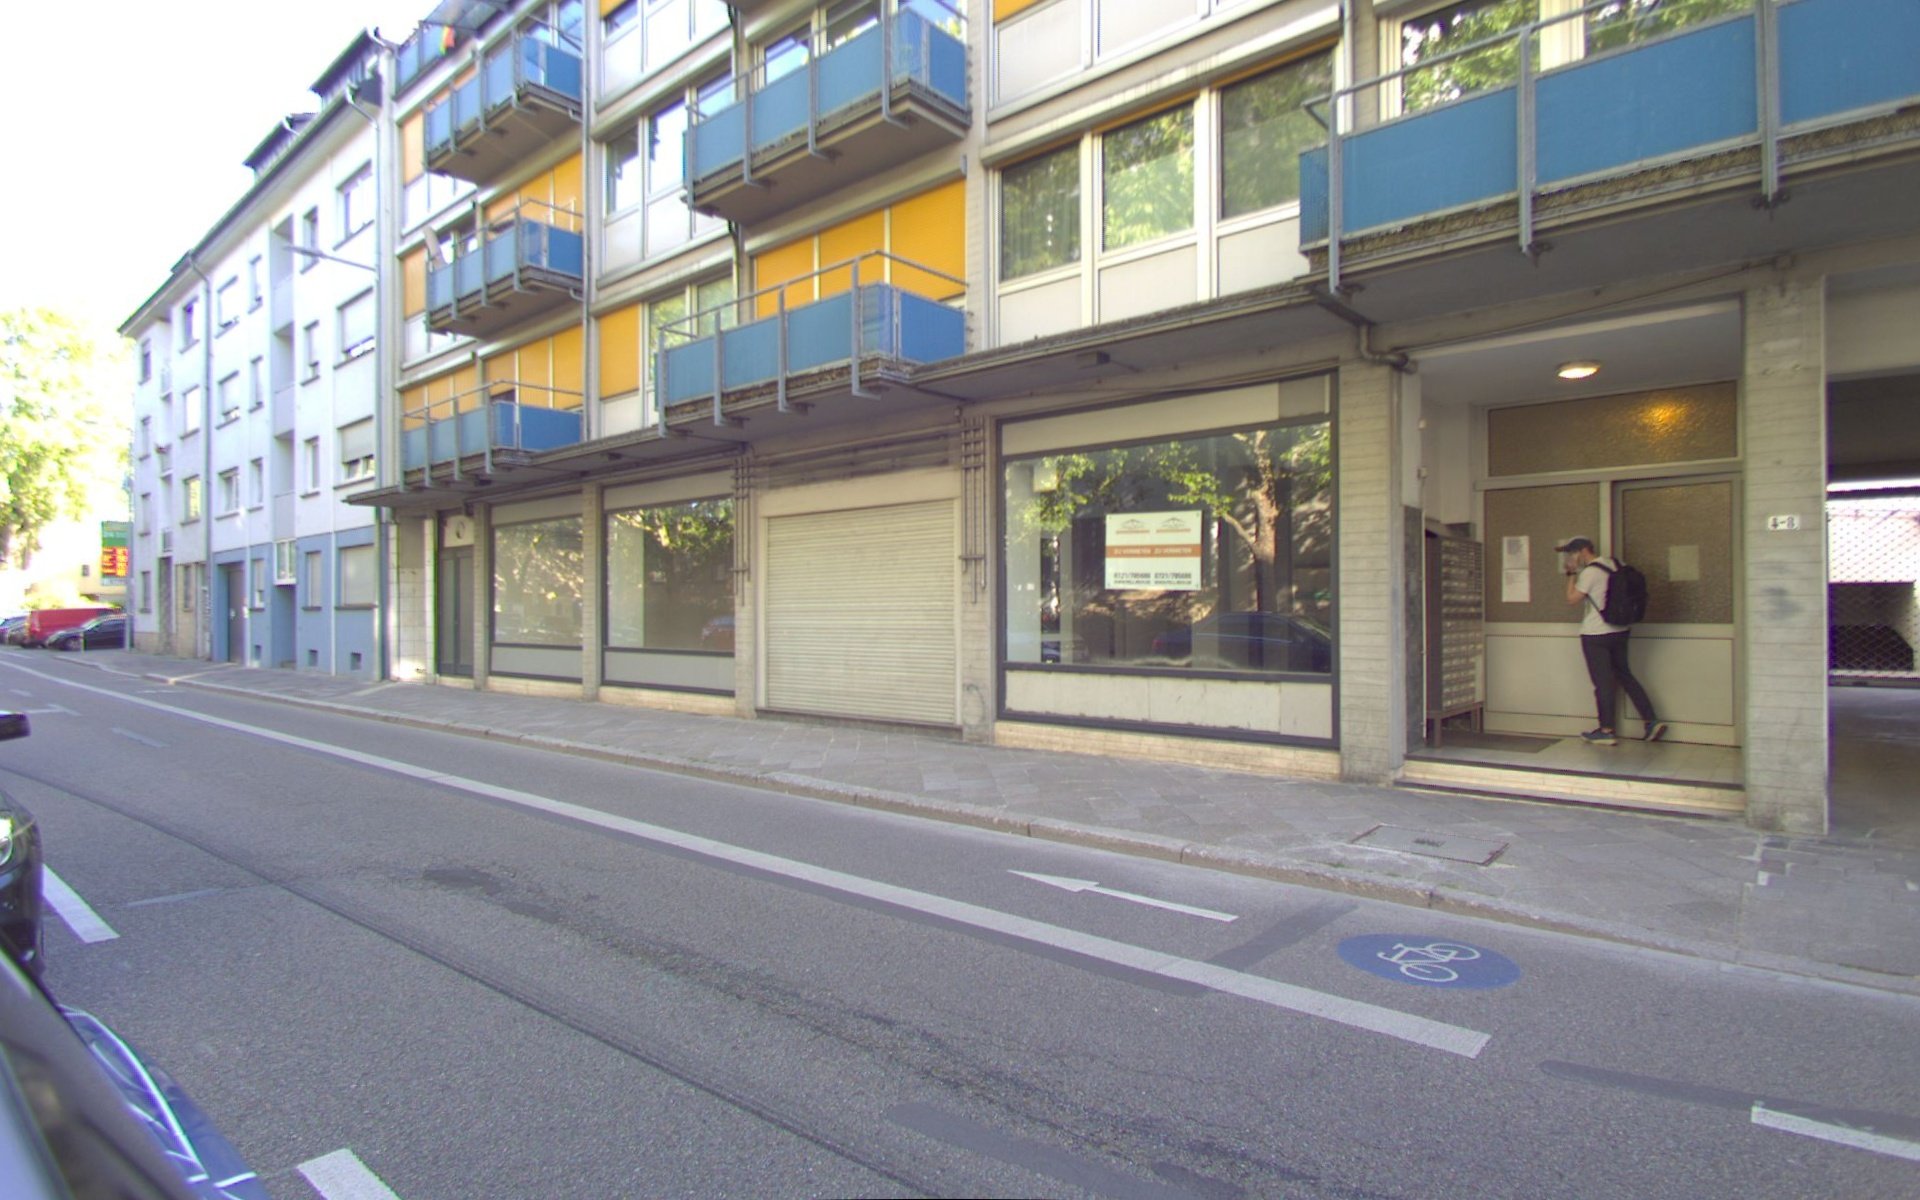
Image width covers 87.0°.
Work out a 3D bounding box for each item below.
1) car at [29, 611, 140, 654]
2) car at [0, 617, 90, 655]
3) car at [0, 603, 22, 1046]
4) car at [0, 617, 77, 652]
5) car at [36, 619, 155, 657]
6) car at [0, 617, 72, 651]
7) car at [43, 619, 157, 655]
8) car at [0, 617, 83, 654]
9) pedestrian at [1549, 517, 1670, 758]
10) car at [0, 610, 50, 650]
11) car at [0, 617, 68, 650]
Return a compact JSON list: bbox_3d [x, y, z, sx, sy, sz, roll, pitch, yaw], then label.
[{"bbox_3d":[-43.441,1.571,50.256,2.000,1.962,3.944,-1,0,42],"label":"car"},{"bbox_3d":[-51.581,2.008,56.834,2.000,1.962,3.944,-1,0,42],"label":"car"},{"bbox_3d":[-5.532,0.807,4.285,4.479,1.512,1.842,-1,-1,41],"label":"car"},{"bbox_3d":[-55.613,2.060,60.569,2.000,1.962,3.944,-1,0,42],"label":"car"},{"bbox_3d":[-39.767,1.723,46.610,2.000,1.564,3.944,-1,0,42],"label":"car"},{"bbox_3d":[-57.418,2.083,62.287,2.000,1.962,3.944,-1,0,42],"label":"car"},{"bbox_3d":[-41.186,1.741,48.531,2.000,1.564,3.944,-1,0,42],"label":"car"},{"bbox_3d":[-53.531,2.033,58.617,2.000,1.962,3.944,-1,0,42],"label":"car"},{"bbox_3d":[5.412,0.296,8.433,0.785,1.894,0.574,-1,0,38],"label":"pedestrian"},{"bbox_3d":[-62.810,1.953,66.789,2.000,2.538,3.944,-1,0,42],"label":"car"},{"bbox_3d":[-59.218,2.106,64.020,2.000,1.962,3.944,-1,0,42],"label":"car"}]
